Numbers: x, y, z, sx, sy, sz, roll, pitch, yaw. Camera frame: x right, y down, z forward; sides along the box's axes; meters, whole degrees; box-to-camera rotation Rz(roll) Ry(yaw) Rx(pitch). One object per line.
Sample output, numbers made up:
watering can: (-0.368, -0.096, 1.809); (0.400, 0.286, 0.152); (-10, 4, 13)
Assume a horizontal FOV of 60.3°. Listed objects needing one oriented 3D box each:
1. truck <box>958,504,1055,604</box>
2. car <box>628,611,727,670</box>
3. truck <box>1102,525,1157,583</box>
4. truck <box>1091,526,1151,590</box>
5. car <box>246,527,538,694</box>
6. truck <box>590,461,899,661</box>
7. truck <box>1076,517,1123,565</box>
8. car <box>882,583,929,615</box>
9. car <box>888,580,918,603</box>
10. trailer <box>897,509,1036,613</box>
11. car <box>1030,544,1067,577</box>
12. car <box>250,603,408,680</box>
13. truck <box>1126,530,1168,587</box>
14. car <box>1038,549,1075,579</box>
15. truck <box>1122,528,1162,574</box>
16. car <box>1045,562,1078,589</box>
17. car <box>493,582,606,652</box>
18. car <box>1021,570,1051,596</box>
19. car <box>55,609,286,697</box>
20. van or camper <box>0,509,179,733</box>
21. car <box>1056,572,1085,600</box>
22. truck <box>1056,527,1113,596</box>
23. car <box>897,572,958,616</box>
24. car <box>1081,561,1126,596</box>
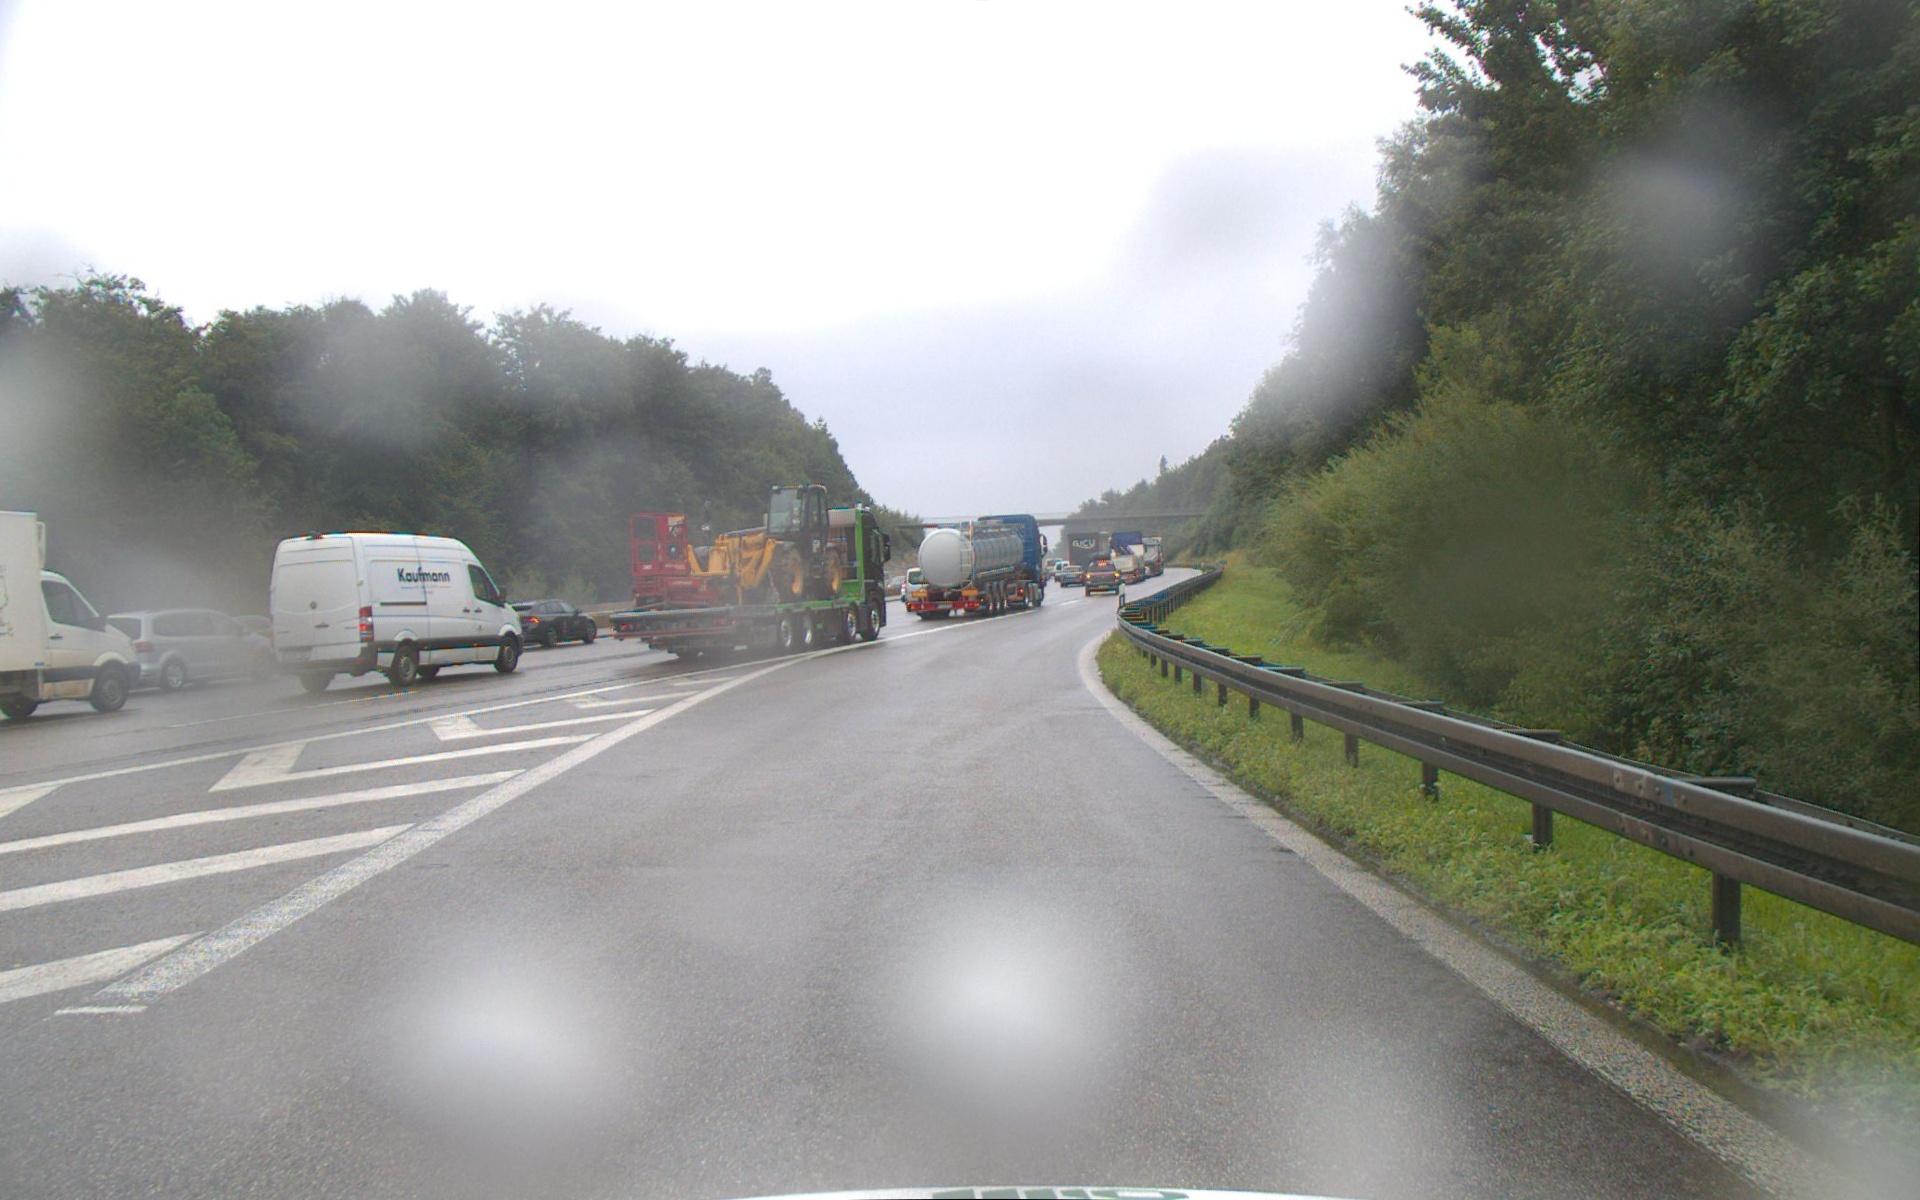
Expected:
truck: (1.922, -1.851, 66.693); (2.815, 3.757, 5.061); (-3, 1, 13)
car: (-8.887, 1.248, 52.363); (1.747, 1.757, 4.003); (1, 0, 11)
truck: (13.890, -3.639, 134.691); (3.432, 4.342, 10.612); (1, 0, 11)
truck: (11.632, -2.988, 118.702); (3.523, 4.176, 11.571); (-3, 1, 8)
car: (-10.179, 0.140, 30.292); (2.168, 2.675, 5.849); (-2, 0, 13)
truck: (-4.353, -0.851, 37.344); (2.771, 3.650, 11.809); (-3, 1, 13)
truck: (13.849, -5.689, 163.003); (3.500, 4.167, 10.889); (-2, -1, 10)
car: (-3.274, -0.089, 100.358); (1.951, 1.803, 4.138); (-2, 0, 10)
car: (-5.154, -0.795, 149.950); (1.951, 2.049, 4.004); (-2, 0, 9)
trailer: (0.446, -1.448, 60.026); (2.812, 3.345, 10.088); (-3, 1, 13)
car: (8.692, -3.815, 162.014); (3.029, 3.055, 6.779); (1, 0, 8)
car: (-16.033, 1.023, 42.245); (1.738, 1.735, 4.004); (-3, 0, 14)
truck: (20.534, -4.465, 181.007); (4.244, 5.864, 9.738); (1, 0, 8)
car: (10.345, -3.823, 176.348); (3.177, 3.055, 6.779); (1, 0, 10)
truck: (17.527, -4.623, 159.057); (3.675, 4.040, 11.067); (1, 0, 7)
car: (12.320, -2.970, 199.608); (3.177, 3.055, 6.779); (1, 0, 10)
car: (-12.639, 0.514, 51.193); (1.759, 2.049, 4.003); (1, 0, 13)
car: (5.952, -1.322, 129.591); (1.759, 1.937, 4.003); (-3, 0, 10)
car: (-16.444, 1.059, 34.744); (1.826, 1.549, 4.634); (-3, 0, 13)
van or camper: (-15.132, 0.351, 24.428); (2.524, 3.259, 7.137); (-2, 0, 13)
car: (8.001, -1.004, 119.689); (1.759, 1.937, 4.003); (0, 0, 9)
truck: (10.681, -3.173, 140.670); (3.674, 5.595, 10.181); (1, 0, 10)
car: (-1.369, -0.280, 71.091); (1.780, 1.797, 4.004); (-2, 1, 11)
car: (7.256, -1.084, 83.275); (1.951, 1.665, 4.003); (1, 0, 10)
